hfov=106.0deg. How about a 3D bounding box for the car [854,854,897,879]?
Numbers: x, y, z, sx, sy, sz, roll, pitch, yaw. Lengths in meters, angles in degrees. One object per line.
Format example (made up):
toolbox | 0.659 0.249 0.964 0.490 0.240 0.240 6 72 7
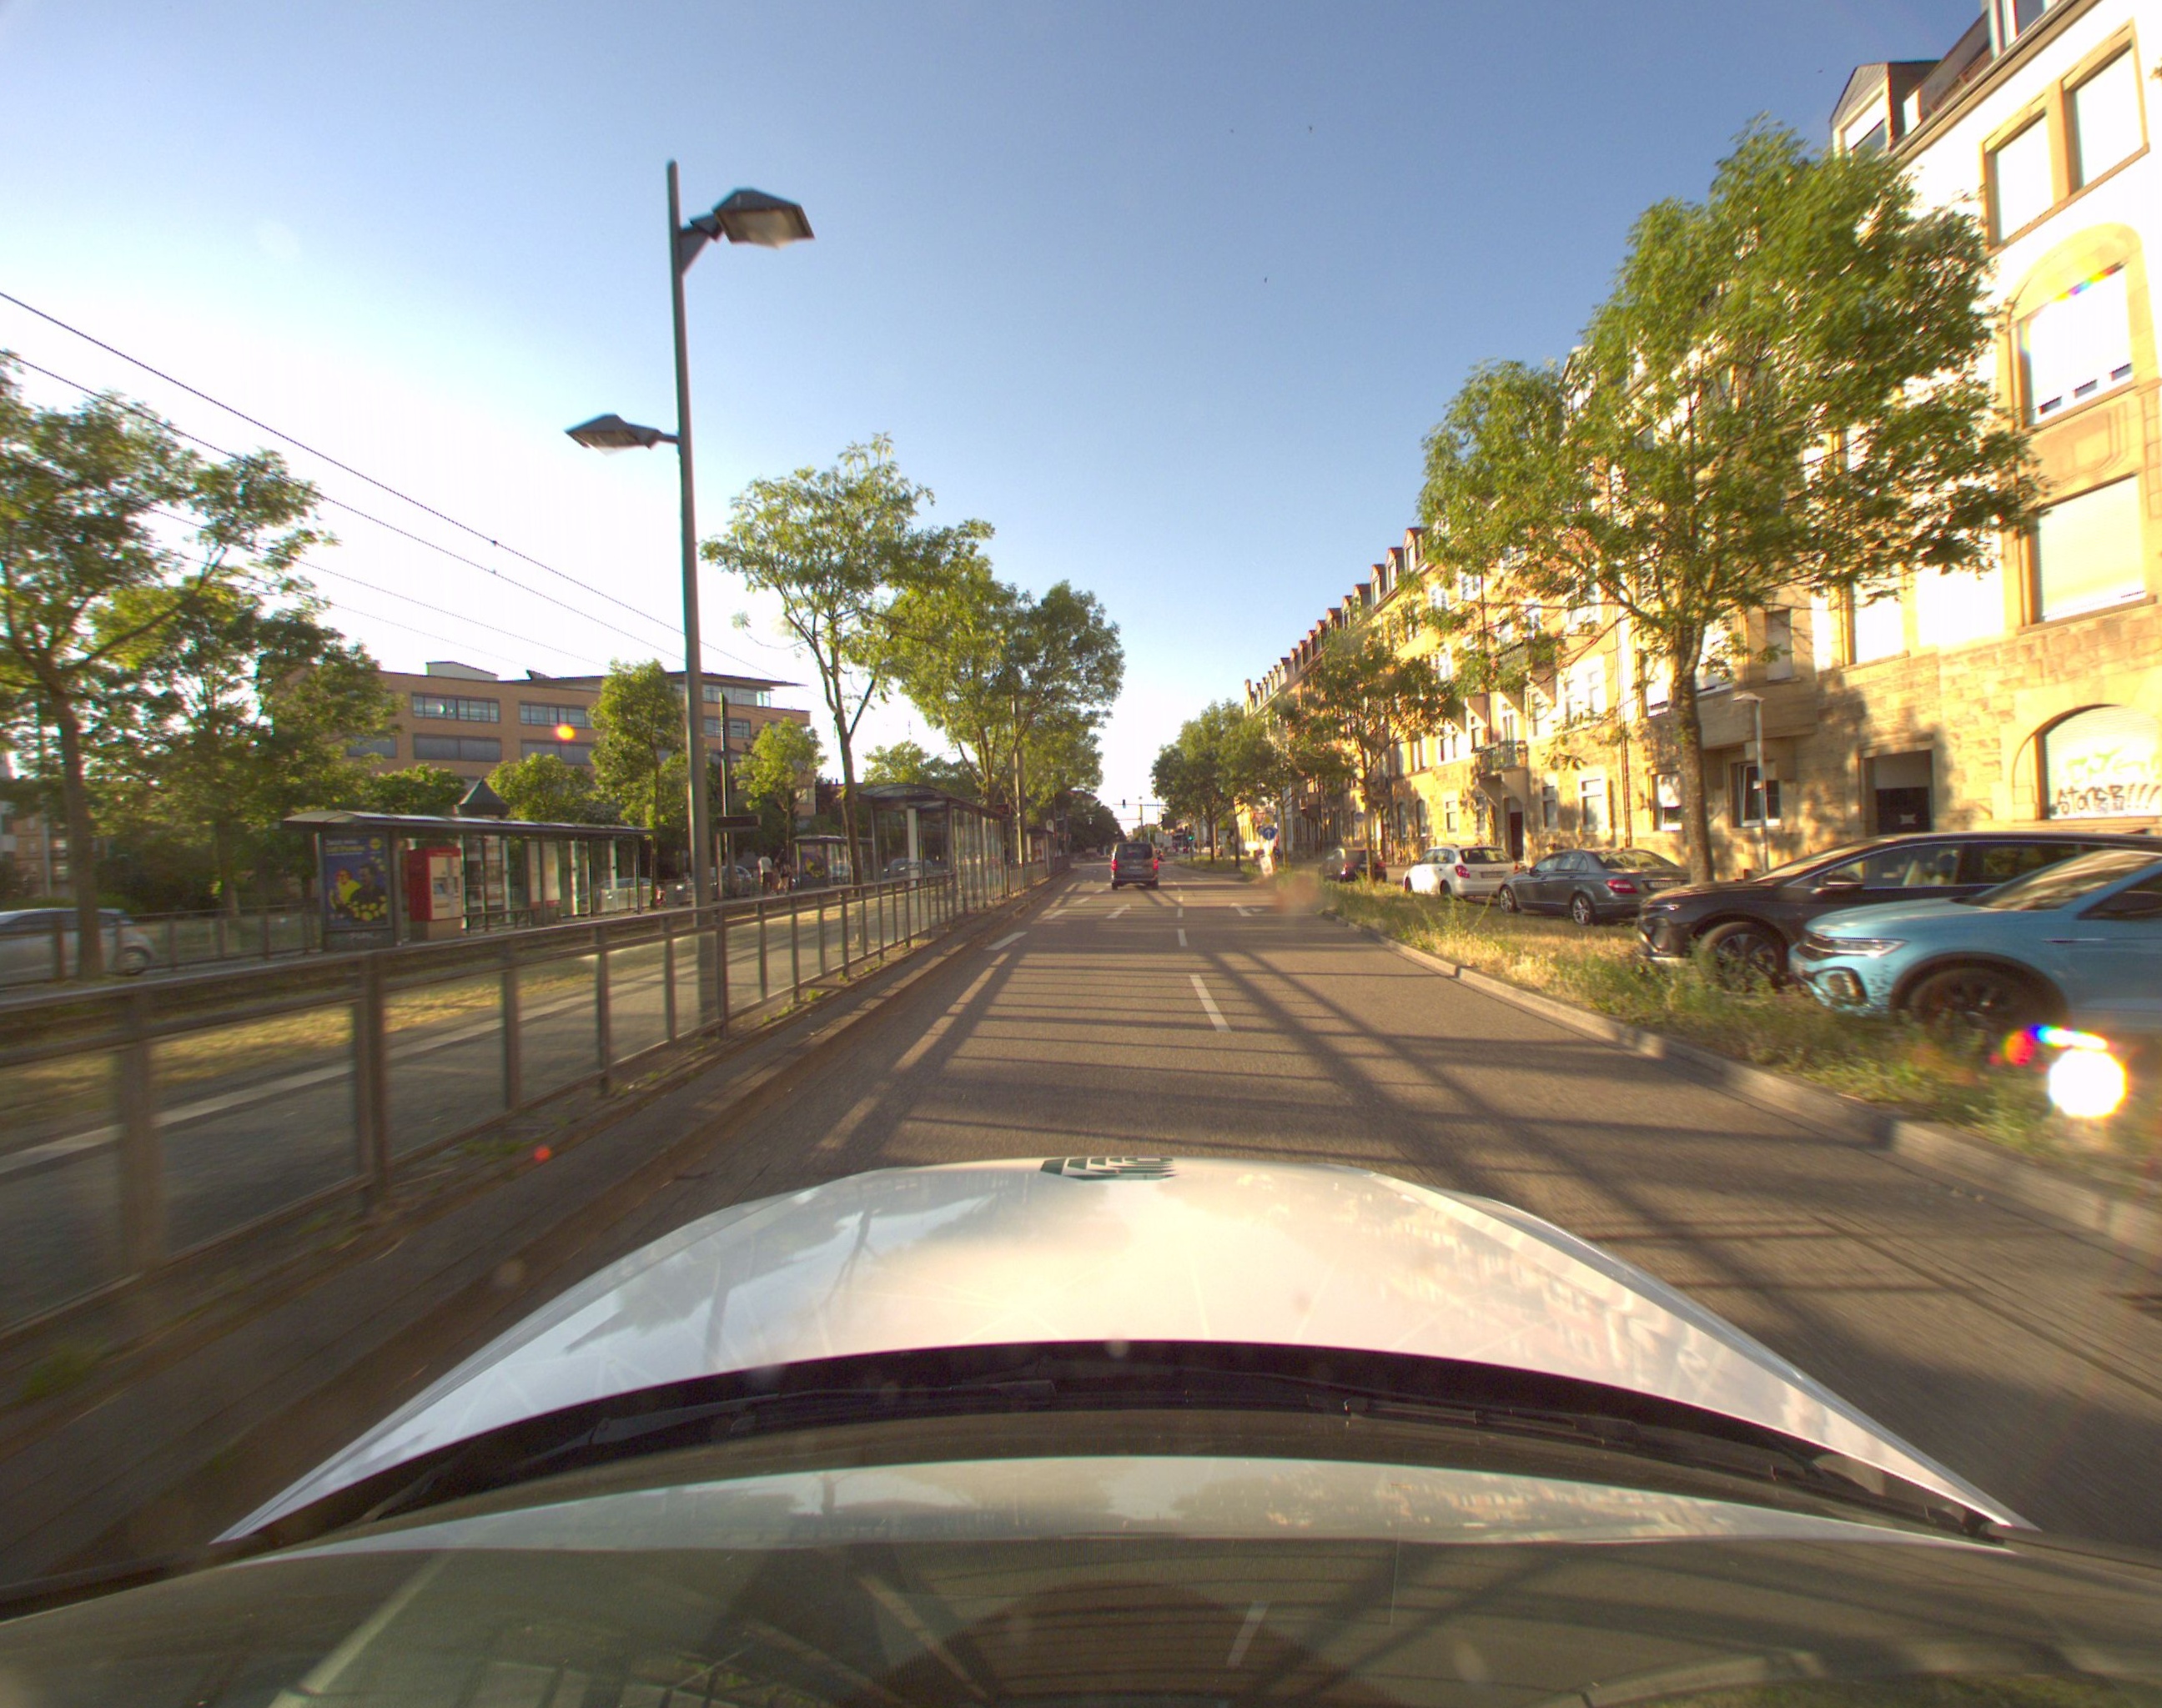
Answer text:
car | -14.363 0.844 57.197 1.852 1.653 4.002 -2 0 2

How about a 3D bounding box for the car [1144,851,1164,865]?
car | 8.295 0.388 92.344 1.986 1.510 4.001 -1 0 1

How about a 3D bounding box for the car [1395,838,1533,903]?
car | 9.862 0.376 21.356 1.719 1.512 4.273 0 0 1

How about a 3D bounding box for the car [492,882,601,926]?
car | -19.460 1.782 29.818 1.535 1.298 3.689 -2 0 -1

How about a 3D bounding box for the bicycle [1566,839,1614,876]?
bicycle | 17.338 0.100 27.784 0.481 1.165 1.747 -8 0 2

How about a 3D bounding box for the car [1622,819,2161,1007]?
car | 8.212 0.475 8.414 4.286 1.571 2.014 0 1 31

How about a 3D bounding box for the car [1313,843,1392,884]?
car | 10.168 0.323 30.820 1.697 1.448 4.291 0 0 2

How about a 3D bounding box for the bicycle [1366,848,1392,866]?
bicycle | 16.356 0.151 44.749 0.730 0.948 2.343 -4 0 5

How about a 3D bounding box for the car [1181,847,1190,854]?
car | 26.845 -0.899 209.657 1.985 1.656 4.303 -3 0 3

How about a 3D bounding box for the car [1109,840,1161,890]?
car | 2.166 0.405 33.446 1.986 1.900 4.301 -1 0 2

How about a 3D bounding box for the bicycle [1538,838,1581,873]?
bicycle | 17.420 0.044 29.687 0.481 1.165 1.747 -8 0 2

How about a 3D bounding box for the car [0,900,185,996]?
car | -19.746 1.758 15.007 1.854 1.508 4.005 -2 0 4

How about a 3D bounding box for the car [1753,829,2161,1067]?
car | 7.730 0.592 5.885 4.232 1.522 1.859 -2 0 34

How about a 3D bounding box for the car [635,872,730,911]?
car | -15.935 1.453 32.784 1.687 1.298 4.002 -2 0 2

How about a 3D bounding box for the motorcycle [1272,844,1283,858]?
motorcycle | 18.452 -0.266 76.494 0.552 1.214 2.072 -1 0 0

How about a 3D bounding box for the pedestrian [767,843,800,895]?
pedestrian | -11.877 0.589 32.506 0.766 2.013 1.128 -2 0 4

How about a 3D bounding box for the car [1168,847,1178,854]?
car | 24.111 -0.845 214.387 1.987 1.656 4.297 -3 0 -1

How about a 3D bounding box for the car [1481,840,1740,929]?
car | 9.895 0.493 15.819 1.938 1.444 4.910 0 0 1

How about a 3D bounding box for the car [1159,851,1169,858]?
car | 21.756 0.053 214.067 1.987 1.656 4.297 -3 0 -1

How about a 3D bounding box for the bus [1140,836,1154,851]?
bus | 20.338 -3.228 250.941 3.280 4.617 9.994 -1 0 -1

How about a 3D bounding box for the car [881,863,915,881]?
car | -15.145 1.469 67.606 1.788 1.415 4.342 -1 0 1

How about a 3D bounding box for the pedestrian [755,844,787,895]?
pedestrian | -12.629 0.619 33.198 0.766 2.013 1.128 -2 0 4

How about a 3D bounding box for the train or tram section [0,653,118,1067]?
train or tram section | -10.625 0.101 0.397 3.418 3.339 13.863 -2 0 2
